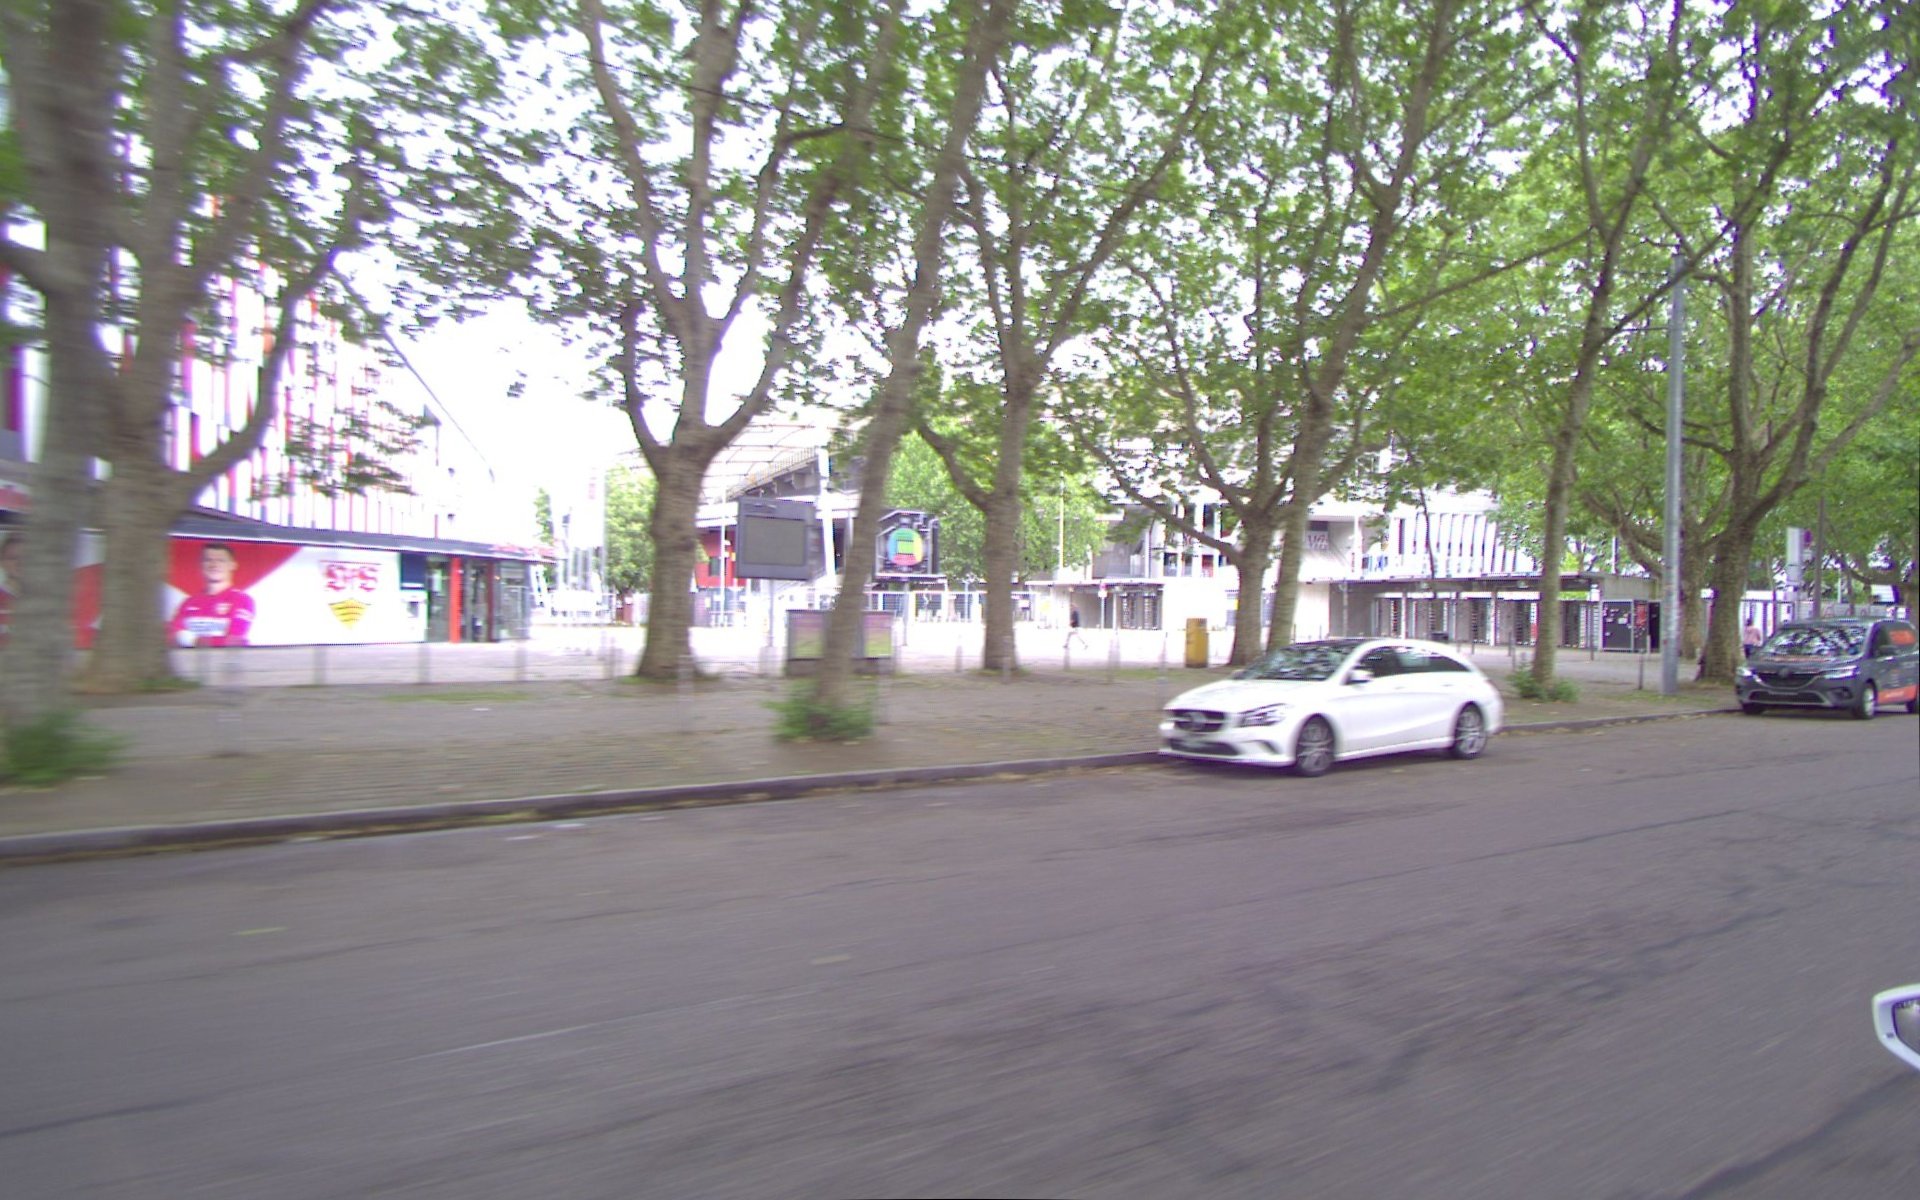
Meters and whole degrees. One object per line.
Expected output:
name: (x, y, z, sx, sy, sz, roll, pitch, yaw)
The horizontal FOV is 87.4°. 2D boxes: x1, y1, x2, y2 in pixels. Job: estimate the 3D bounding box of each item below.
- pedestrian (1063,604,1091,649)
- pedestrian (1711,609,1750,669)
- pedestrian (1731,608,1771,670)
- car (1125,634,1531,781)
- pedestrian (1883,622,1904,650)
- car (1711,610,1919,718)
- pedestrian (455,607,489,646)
pedestrian: (4.549, 1.022, 39.155, 0.798, 1.714, 0.722, 1, 0, -26)
pedestrian: (23.265, 1.168, 30.327, 0.755, 1.765, 0.575, 1, 0, -15)
pedestrian: (23.404, 1.145, 29.730, 0.755, 1.793, 0.577, 1, 0, -15)
car: (4.364, 1.129, 11.734, 4.696, 1.421, 1.895, 1, -4, -30)
pedestrian: (52.818, 2.040, 56.829, 0.652, 1.564, 0.664, 1, 0, -29)
car: (16.006, 1.119, 18.471, 4.585, 1.773, 1.939, 1, -2, -31)
pedestrian: (-19.429, 1.047, 39.958, 1.099, 1.481, 1.038, 1, 0, -33)
